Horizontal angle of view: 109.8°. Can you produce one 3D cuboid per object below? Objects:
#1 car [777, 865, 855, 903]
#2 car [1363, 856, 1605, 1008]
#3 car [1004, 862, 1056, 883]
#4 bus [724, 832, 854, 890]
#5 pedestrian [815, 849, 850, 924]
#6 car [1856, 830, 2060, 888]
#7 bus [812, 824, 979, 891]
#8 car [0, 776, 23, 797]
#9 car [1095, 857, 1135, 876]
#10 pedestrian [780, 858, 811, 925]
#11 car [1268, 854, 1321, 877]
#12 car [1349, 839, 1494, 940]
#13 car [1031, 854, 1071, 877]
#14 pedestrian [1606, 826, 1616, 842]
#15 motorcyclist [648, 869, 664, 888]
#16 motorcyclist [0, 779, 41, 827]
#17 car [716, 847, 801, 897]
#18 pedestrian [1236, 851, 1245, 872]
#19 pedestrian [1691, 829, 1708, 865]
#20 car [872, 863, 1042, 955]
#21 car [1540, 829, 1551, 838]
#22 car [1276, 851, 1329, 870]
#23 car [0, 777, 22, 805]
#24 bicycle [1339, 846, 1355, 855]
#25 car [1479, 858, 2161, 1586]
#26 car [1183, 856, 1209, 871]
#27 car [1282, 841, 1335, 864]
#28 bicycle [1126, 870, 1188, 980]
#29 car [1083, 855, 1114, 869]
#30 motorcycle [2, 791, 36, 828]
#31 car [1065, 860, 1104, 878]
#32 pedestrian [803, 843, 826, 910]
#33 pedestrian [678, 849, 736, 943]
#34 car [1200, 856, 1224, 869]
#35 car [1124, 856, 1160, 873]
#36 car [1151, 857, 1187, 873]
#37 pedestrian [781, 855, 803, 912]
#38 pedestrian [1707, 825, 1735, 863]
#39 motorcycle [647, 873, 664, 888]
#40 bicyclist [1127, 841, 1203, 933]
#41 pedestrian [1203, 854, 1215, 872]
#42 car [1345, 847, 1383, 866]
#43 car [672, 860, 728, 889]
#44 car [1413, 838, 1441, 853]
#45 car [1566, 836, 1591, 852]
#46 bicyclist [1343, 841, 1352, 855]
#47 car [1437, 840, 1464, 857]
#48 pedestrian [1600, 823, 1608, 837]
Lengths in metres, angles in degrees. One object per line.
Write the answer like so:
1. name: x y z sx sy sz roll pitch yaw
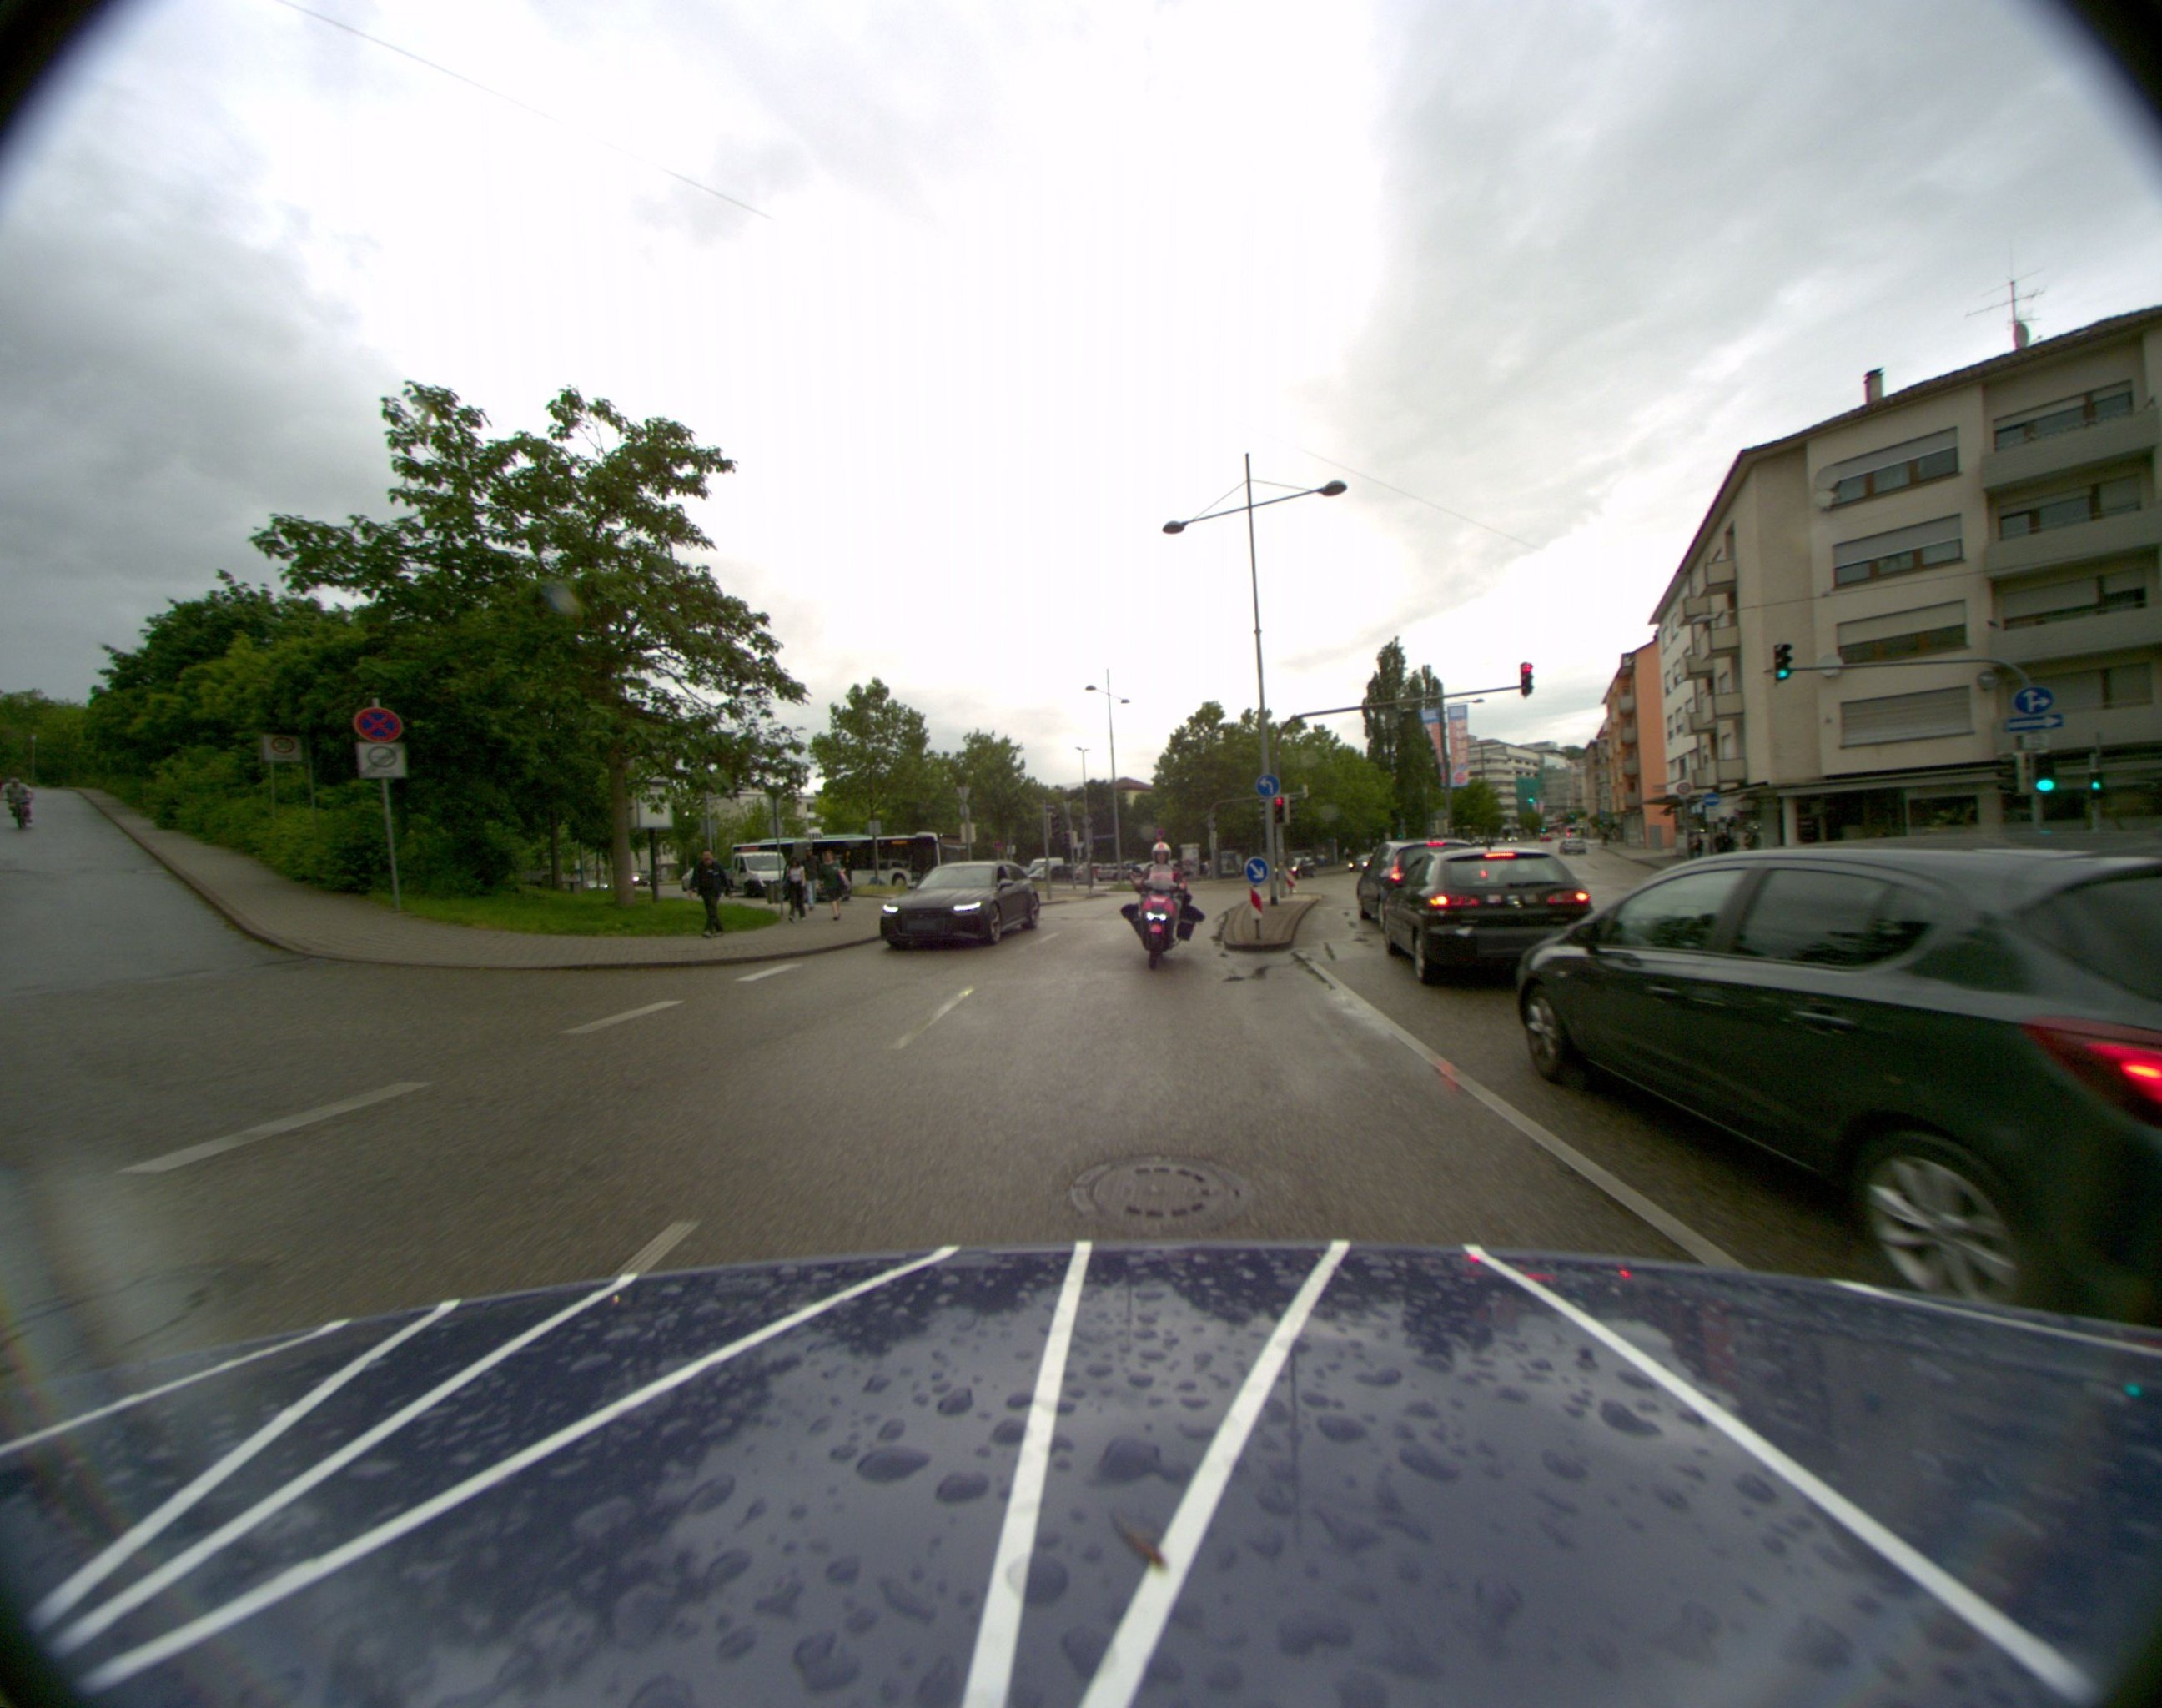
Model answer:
1. car: -10.880 1.189 31.029 1.799 1.366 4.086 -3 1 -37
2. car: 4.462 0.758 9.009 1.558 1.389 3.731 -3 -1 13
3. car: -4.005 1.451 60.067 1.852 1.432 4.270 -3 0 32
4. bus: -17.523 0.487 45.260 8.537 3.162 2.693 -2 1 34
5. pedestrian: -6.180 0.790 18.926 0.743 1.819 0.693 0 1 -9
6. car: 24.474 0.171 21.408 3.620 1.453 1.545 -3 0 45
7. bus: -10.009 0.250 40.222 9.632 3.198 2.710 -1 0 34
8. car: -73.656 -4.664 51.761 3.987 1.305 1.777 5 3 35
9. car: 3.171 1.148 70.278 1.758 1.581 4.185 -2 0 32
10. pedestrian: -7.008 0.900 18.661 0.602 1.590 0.706 0 1 -11
11. car: 14.196 0.732 50.388 1.892 1.391 4.369 -1 1 37
12. car: 6.297 0.585 14.521 1.758 1.605 4.215 -2 0 14
13. car: -3.186 1.210 81.899 1.968 2.306 5.022 -2 0 29
14. pedestrian: 59.220 -2.182 84.905 0.560 1.718 0.610 -7 -2 13
15. motorcyclist: -31.580 1.821 56.439 0.808 1.429 1.237 -3 0 -40
16. motorcyclist: -37.584 -1.805 26.907 0.965 1.635 0.837 5 4 35
17. car: -16.162 0.859 37.880 2.259 2.221 6.325 -3 1 -38
18. pedestrian: 13.337 0.615 63.551 0.540 1.685 0.556 -3 0 18
19. pedestrian: 30.341 -0.331 37.279 0.452 1.720 0.525 -7 -2 35
20. car: -2.154 0.927 14.581 1.895 1.396 4.364 -1 0 9
21. car: 82.778 -3.689 135.360 1.604 1.422 3.952 -1 2 30
22. car: 22.622 0.696 77.783 4.743 1.396 1.866 -7 -1 36
23. car: -55.413 -3.244 38.610 3.987 1.305 1.777 5 3 35
24. bicycle: 35.559 -0.463 101.401 1.930 1.088 0.650 -4 1 17
25. car: 3.397 0.819 3.308 1.647 1.445 3.991 -3 0 8
26. car: 12.689 0.994 83.732 1.637 1.414 3.361 -4 0 31
27. car: 24.343 -0.125 81.304 4.840 1.931 1.954 -7 -1 36
28. bicycle: 1.130 0.929 10.793 0.716 1.298 2.429 -1 1 9
29. car: 2.271 1.012 96.868 1.968 1.660 4.639 -2 0 29
30. motorcycle: -37.555 -1.575 26.864 2.340 1.179 0.662 5 4 35
31. car: 0.359 1.373 71.965 1.758 1.581 4.008 -2 0 32
32. pedestrian: -8.034 0.667 22.914 0.589 2.002 0.786 -1 0 -19
33. pedestrian: -6.889 0.773 14.037 0.572 1.676 0.964 0 -2 -1
34. car: 15.270 0.961 88.518 1.529 1.419 3.844 -2 0 28
35. car: 6.017 1.036 74.362 1.758 1.581 4.008 -2 0 32
36. car: 8.450 1.027 72.715 1.734 1.431 4.453 -2 0 32
37. pedestrian: -8.686 0.877 22.854 0.558 1.696 0.528 -1 0 -15
38. pedestrian: 30.540 -0.466 36.263 0.778 1.719 0.661 -7 -2 34
39. motorcycle: -31.585 1.982 56.424 0.572 1.112 2.682 -3 0 -40
40. bicyclist: 1.199 0.472 10.780 0.962 1.218 0.715 -3 -3 7
41. pedestrian: 12.288 0.860 72.872 0.765 1.623 0.863 -3 -1 35
42. car: 23.537 0.176 63.091 1.893 1.413 4.369 -1 1 35
43. car: -23.883 1.303 47.555 2.004 1.643 4.863 -3 0 -40
44. car: 38.211 -0.959 83.940 1.892 1.480 4.369 -1 1 37
45. car: 45.840 -0.907 70.046 1.677 1.384 4.159 -1 1 29
46. bicyclist: 35.509 -0.854 101.364 0.986 1.760 0.798 -4 1 17
47. car: 35.907 -0.575 73.734 1.893 1.567 4.369 -1 1 32
48. pedestrian: 65.092 -3.020 94.565 0.765 1.685 0.801 -3 1 29
